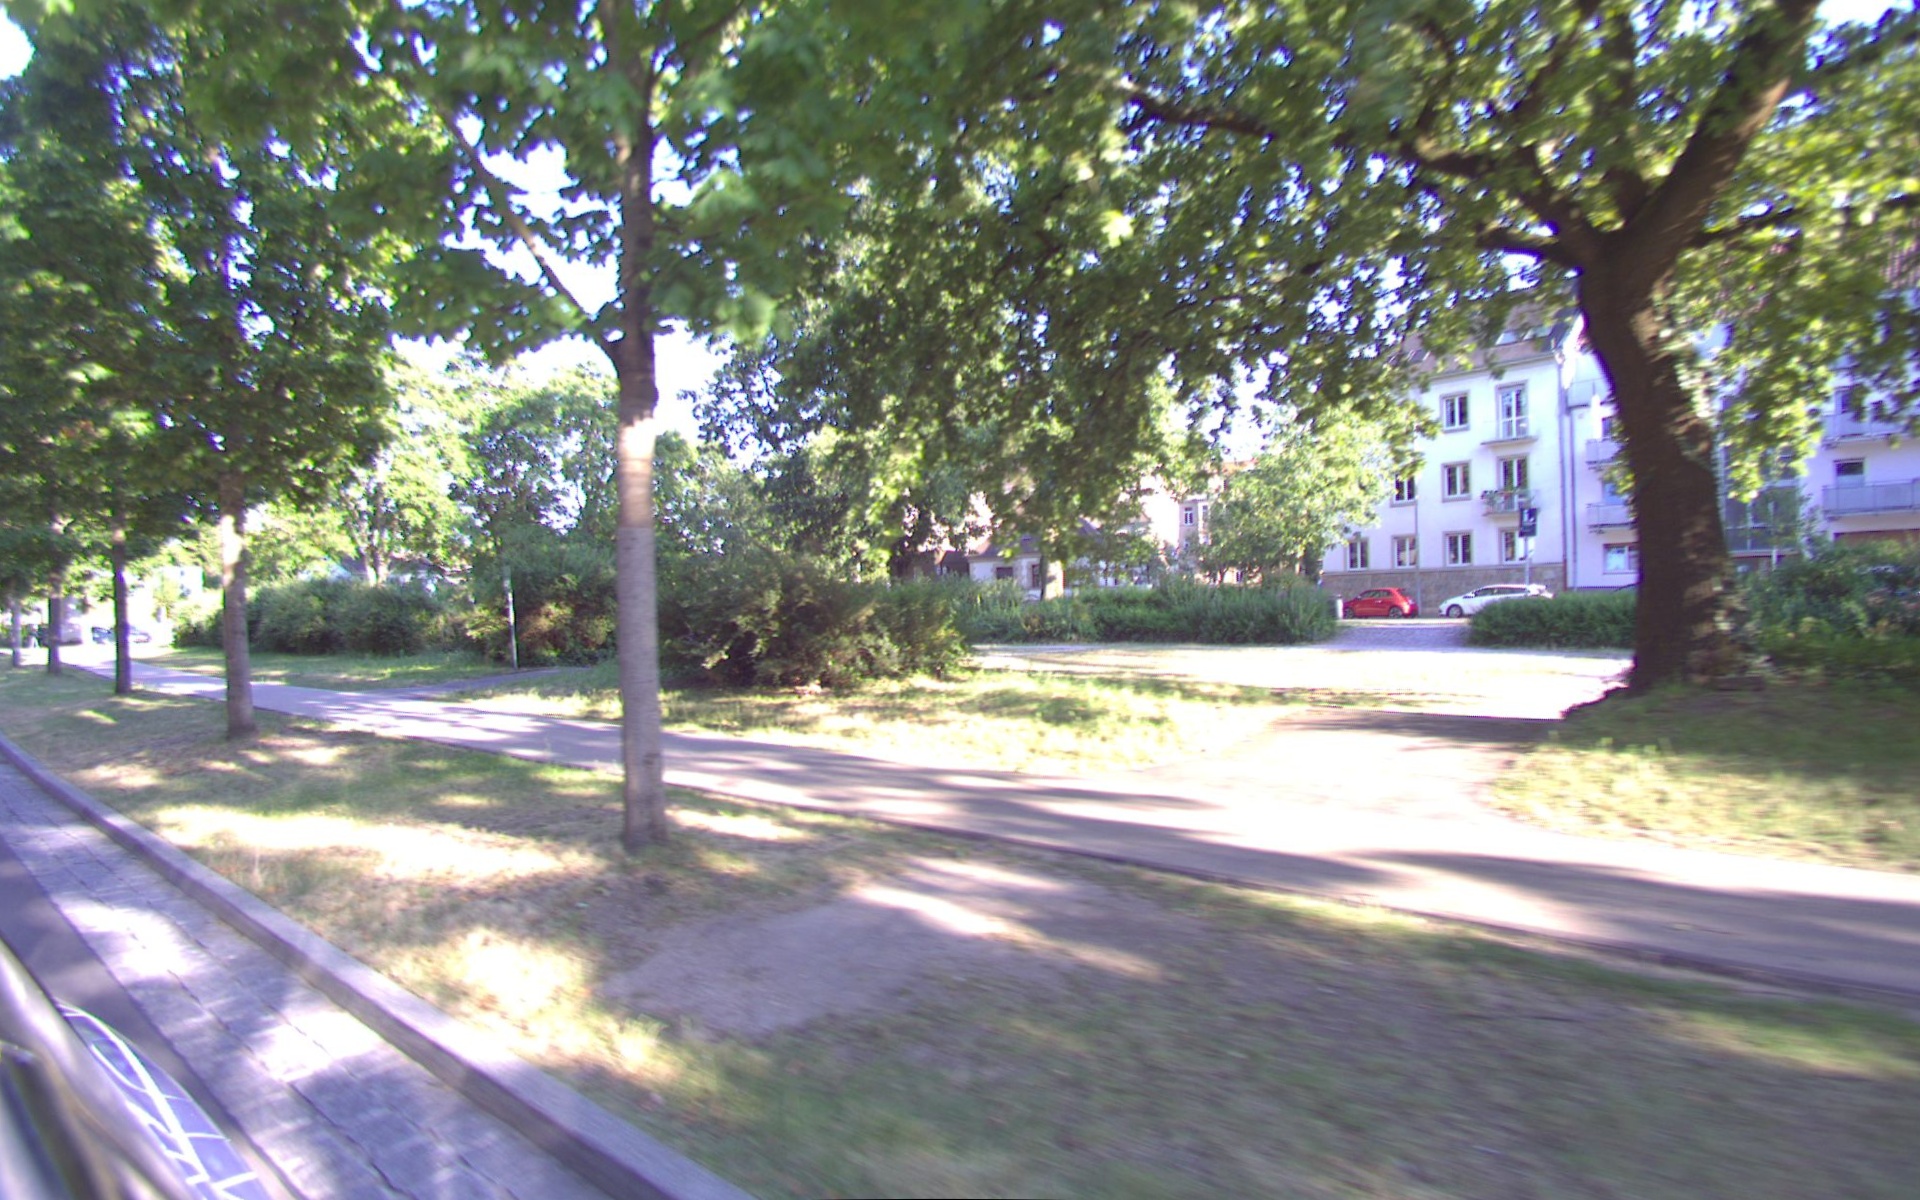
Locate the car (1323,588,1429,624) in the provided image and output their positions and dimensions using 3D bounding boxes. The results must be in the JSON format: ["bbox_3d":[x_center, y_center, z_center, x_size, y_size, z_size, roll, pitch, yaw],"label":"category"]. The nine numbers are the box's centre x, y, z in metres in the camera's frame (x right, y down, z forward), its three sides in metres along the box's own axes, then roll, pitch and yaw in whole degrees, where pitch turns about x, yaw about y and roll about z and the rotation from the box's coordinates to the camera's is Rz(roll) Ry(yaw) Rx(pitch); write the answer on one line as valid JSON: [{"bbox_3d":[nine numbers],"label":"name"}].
[{"bbox_3d":[19.755,0.322,48.137,1.907,1.593,4.223,-1,-1,-41],"label":"car"}]

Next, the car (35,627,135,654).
[{"bbox_3d":[-59.102,2.721,68.448,1.859,1.570,4.792,-2,-1,28],"label":"car"}]

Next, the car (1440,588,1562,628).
[{"bbox_3d":[23.352,0.367,43.805,1.907,1.593,4.223,-1,-1,-41],"label":"car"}]

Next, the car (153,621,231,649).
[{"bbox_3d":[-56.258,2.533,74.178,1.754,1.931,4.198,-2,-1,28],"label":"car"}]
